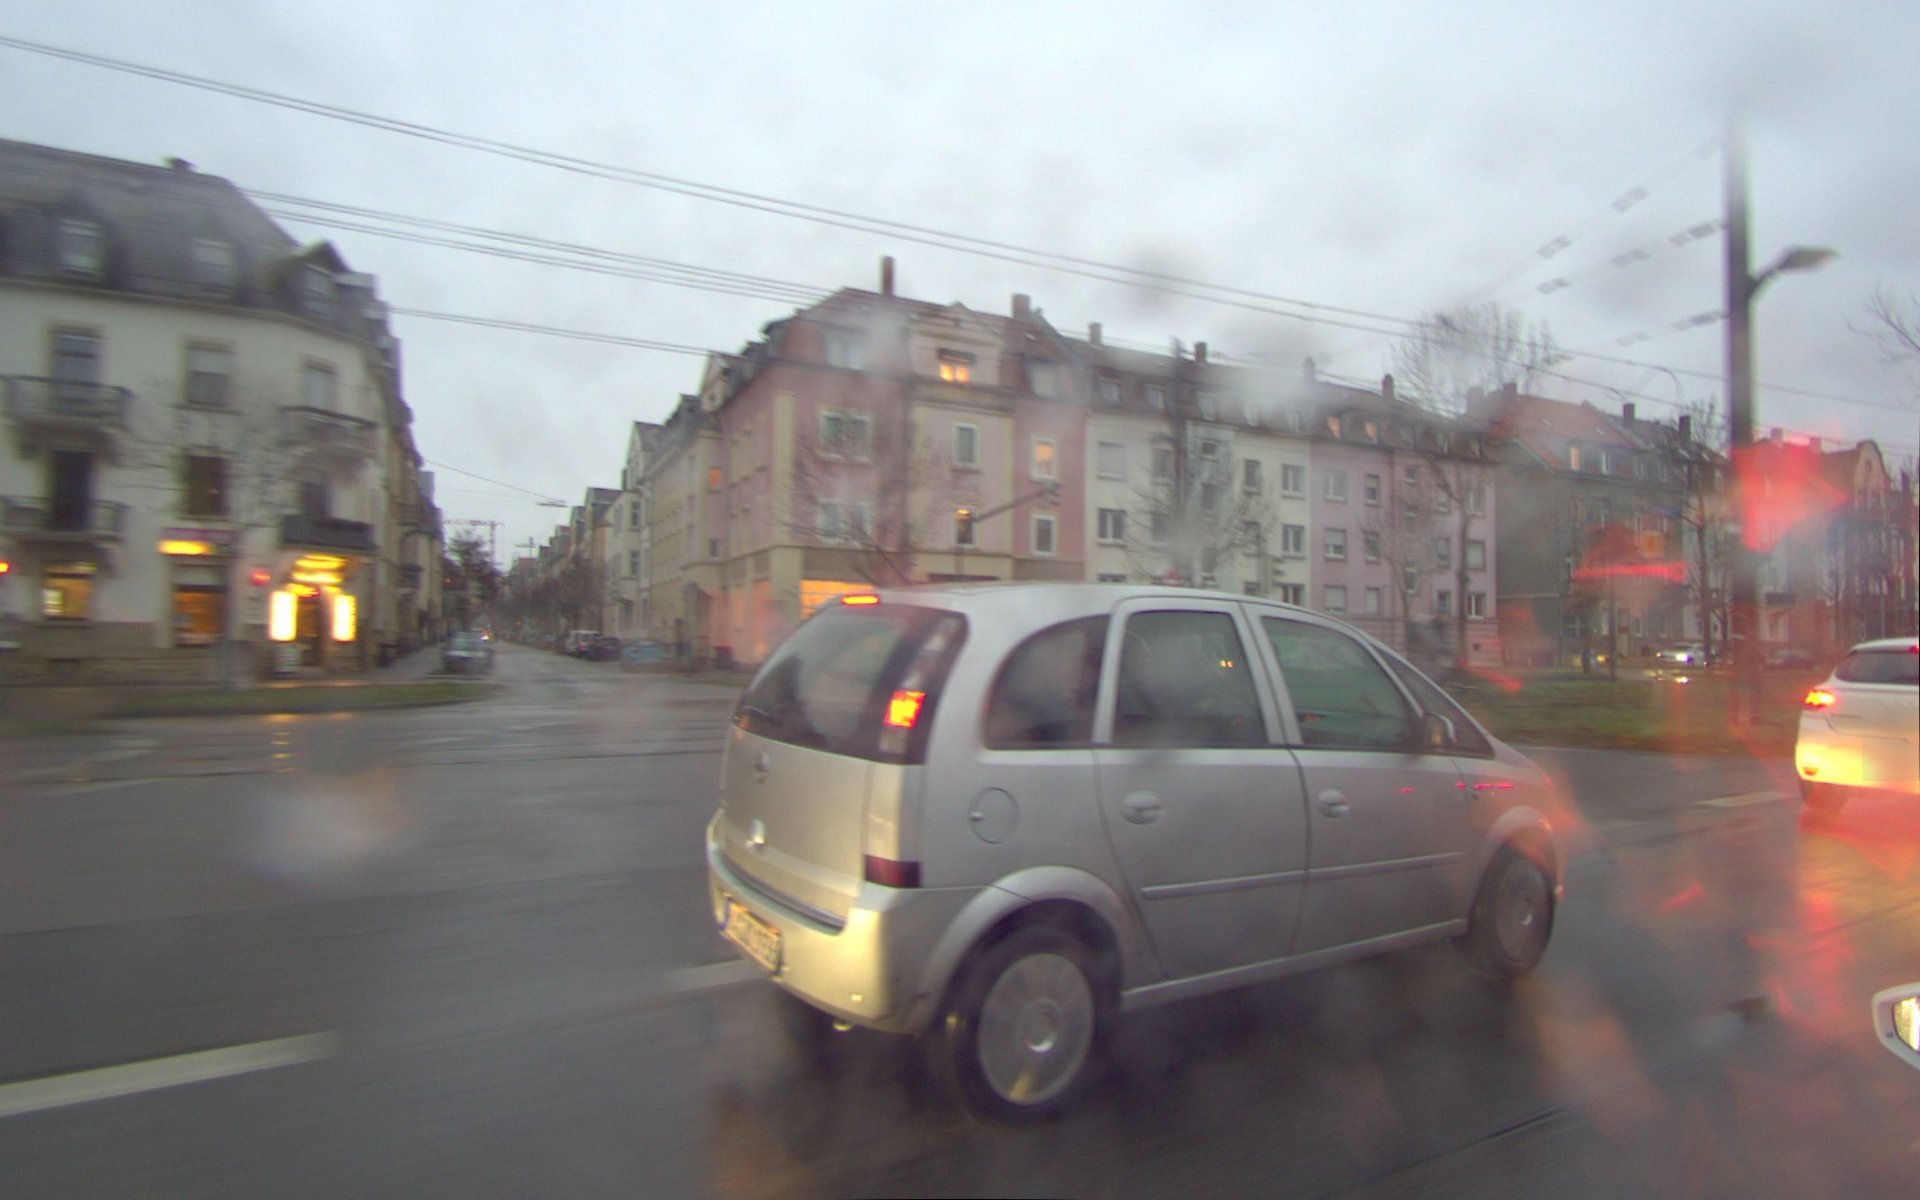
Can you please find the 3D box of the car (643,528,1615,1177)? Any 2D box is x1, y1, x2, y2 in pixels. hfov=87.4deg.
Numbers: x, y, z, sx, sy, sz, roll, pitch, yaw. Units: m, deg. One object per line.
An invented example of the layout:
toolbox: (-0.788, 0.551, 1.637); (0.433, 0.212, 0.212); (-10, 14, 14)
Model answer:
car: (0.898, 0.708, 4.374); (4.010, 1.621, 1.799); (2, -2, -33)

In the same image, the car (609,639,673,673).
car: (-14.947, 2.584, 46.931); (1.978, 1.439, 3.966); (2, -2, -31)

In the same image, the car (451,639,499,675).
car: (-21.057, 2.440, 43.602); (1.771, 1.505, 3.973); (2, -3, -27)

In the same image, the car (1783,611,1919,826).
car: (9.003, 0.966, 8.570); (4.003, 1.621, 1.665); (2, -2, -28)

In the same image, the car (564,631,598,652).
car: (-27.702, 2.992, 73.352); (1.974, 1.439, 3.974); (2, -2, -26)

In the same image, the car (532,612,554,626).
car: (-46.637, 2.166, 112.362); (1.974, 1.439, 3.974); (2, -2, -26)

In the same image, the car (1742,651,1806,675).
car: (49.087, 3.801, 60.561); (3.512, 1.372, 1.769); (2, -3, -28)

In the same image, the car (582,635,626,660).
car: (-21.585, 2.846, 60.809); (1.974, 1.439, 3.973); (2, -2, -27)

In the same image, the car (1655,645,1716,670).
car: (46.145, 3.646, 63.906); (3.512, 1.519, 1.769); (2, -3, -28)

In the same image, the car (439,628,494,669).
car: (-19.102, 1.864, 38.864); (1.771, 1.505, 3.973); (2, -3, -27)

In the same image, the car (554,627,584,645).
car: (-32.530, 2.948, 83.529); (1.974, 1.439, 3.974); (2, -2, -26)

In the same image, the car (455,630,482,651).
car: (-37.751, 3.103, 77.134); (1.771, 1.505, 3.973); (2, -3, -27)

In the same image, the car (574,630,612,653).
car: (-24.971, 2.814, 68.325); (1.974, 1.439, 3.974); (2, -2, -26)

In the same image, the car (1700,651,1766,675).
car: (45.094, 3.647, 58.599); (3.512, 1.372, 1.769); (2, -3, -28)
